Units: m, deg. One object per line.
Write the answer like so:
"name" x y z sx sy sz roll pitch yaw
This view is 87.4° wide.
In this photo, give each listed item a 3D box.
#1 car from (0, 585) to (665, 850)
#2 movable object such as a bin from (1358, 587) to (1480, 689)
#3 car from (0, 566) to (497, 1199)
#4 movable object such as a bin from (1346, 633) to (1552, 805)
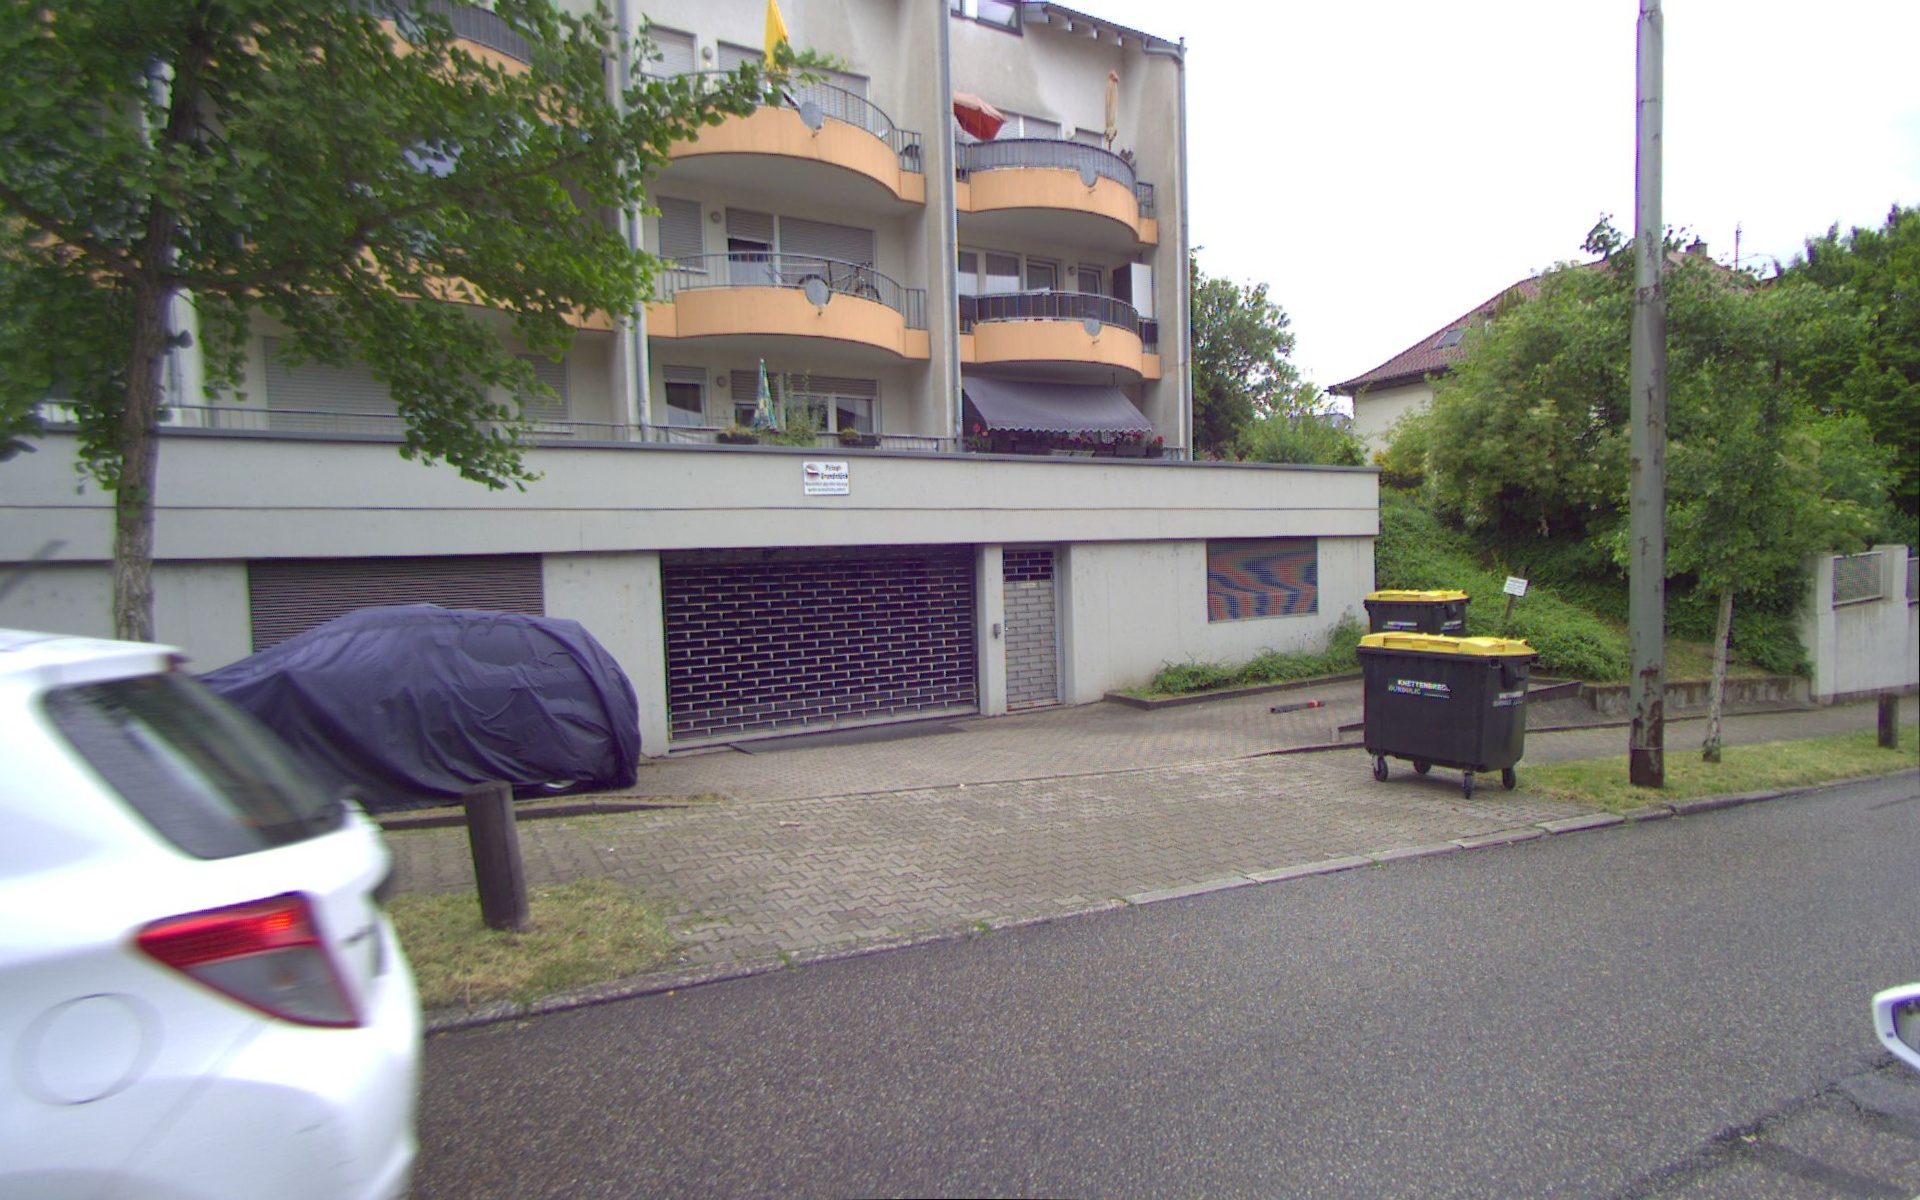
"car" -4.541 0.791 7.781 4.050 1.581 1.770 1 -4 -31
"movable object such as a bin" 7.106 0.540 15.563 1.215 1.383 1.288 -7 5 -36
"car" -2.823 0.738 1.419 3.797 1.551 1.701 1 -3 -31
"movable object such as a bin" 4.395 1.003 9.058 1.145 1.324 1.288 0 1 -38
